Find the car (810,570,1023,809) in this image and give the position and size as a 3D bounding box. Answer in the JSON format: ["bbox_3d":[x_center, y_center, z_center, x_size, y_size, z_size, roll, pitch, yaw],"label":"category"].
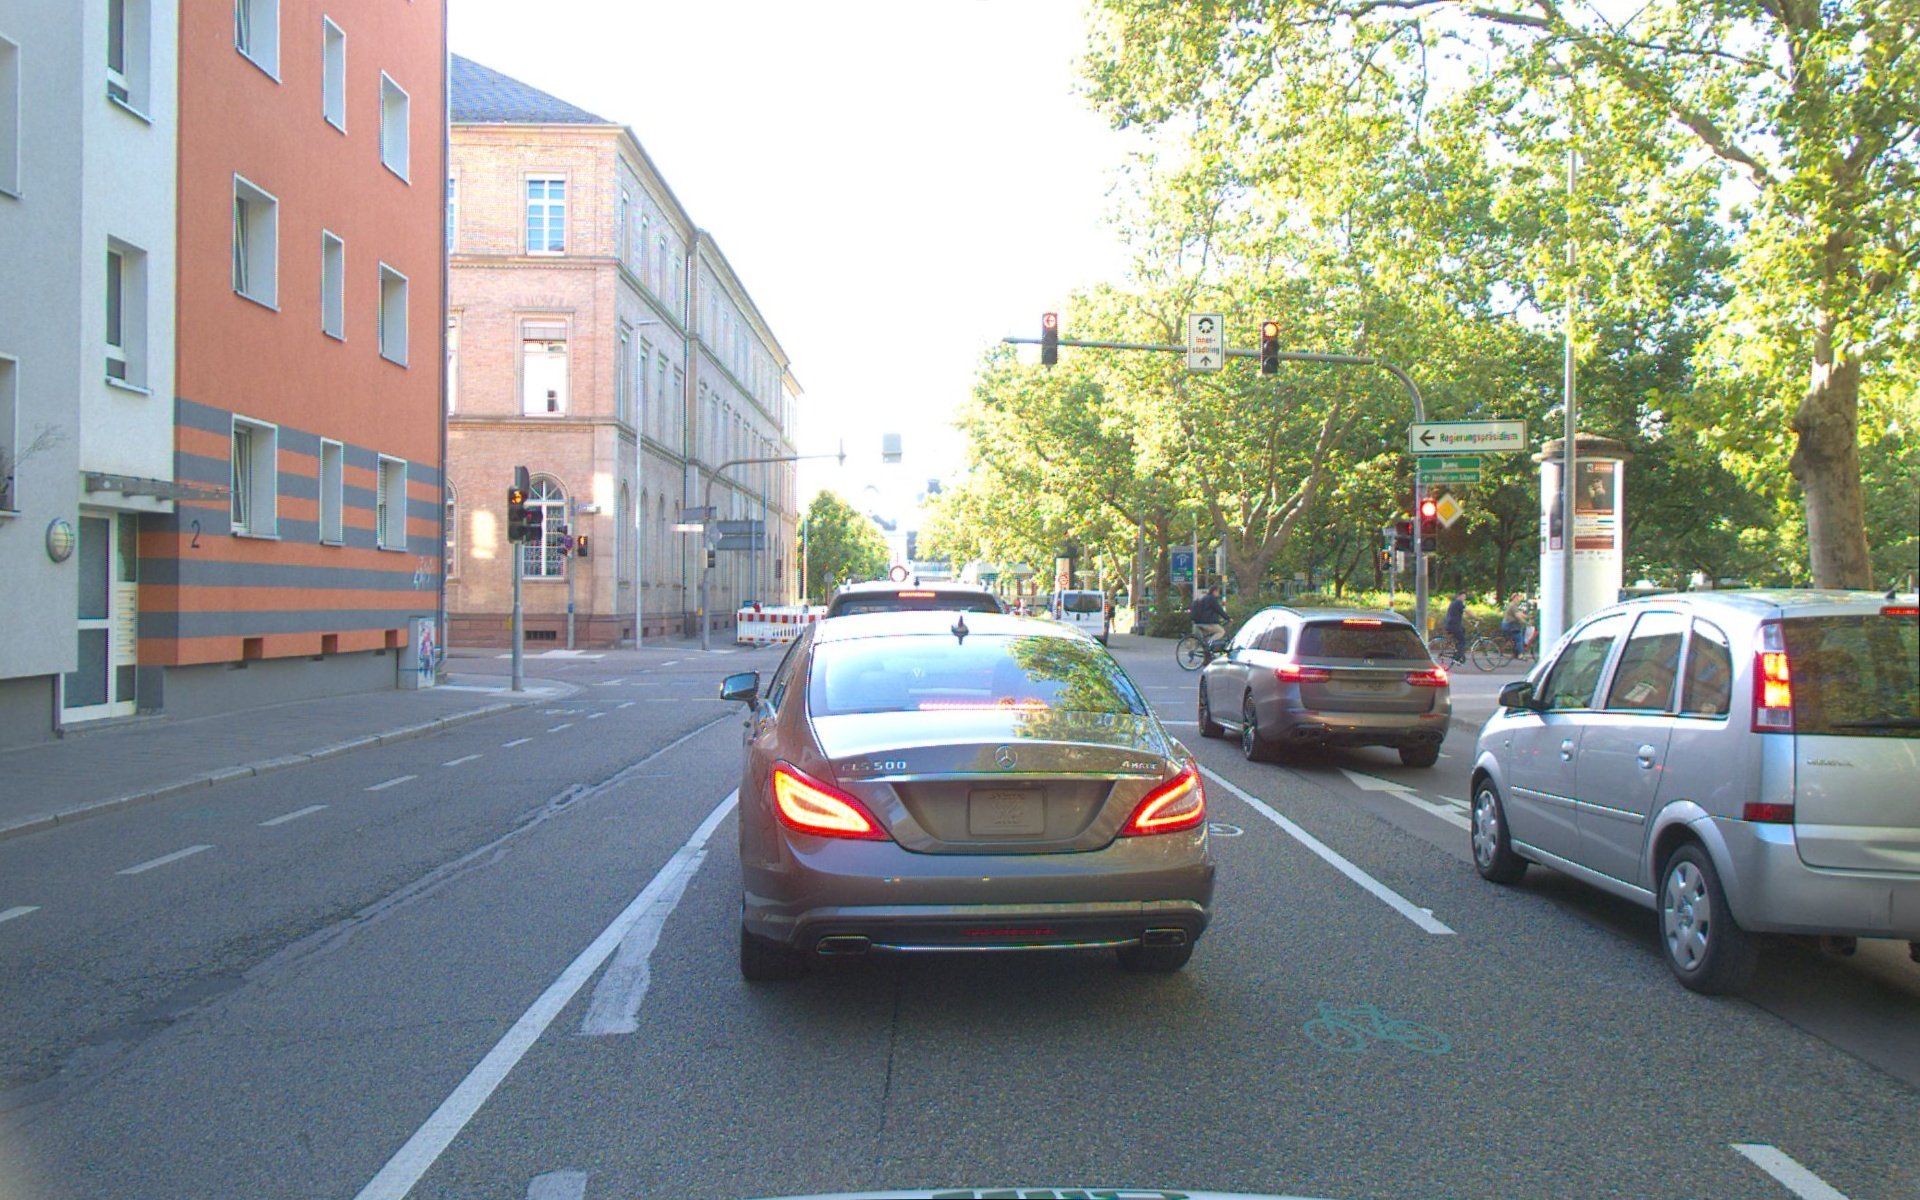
[{"bbox_3d":[-0.398,0.633,13.646,1.487,1.675,3.878,1,0,-3],"label":"car"}]

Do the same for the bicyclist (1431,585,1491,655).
[{"bbox_3d":[11.014,0.443,36.402,1.094,1.516,0.711,0,0,-1],"label":"bicyclist"}]

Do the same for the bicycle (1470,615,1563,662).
[{"bbox_3d":[12.852,0.885,38.232,1.939,1.045,0.652,0,0,0],"label":"bicycle"}]

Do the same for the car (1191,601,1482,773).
[{"bbox_3d":[3.712,0.783,17.195,1.874,1.490,4.668,2,0,-1],"label":"car"}]

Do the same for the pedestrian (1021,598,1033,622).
[{"bbox_3d":[4.014,0.587,99.138,0.635,1.458,0.659,0,0,-1],"label":"pedestrian"}]

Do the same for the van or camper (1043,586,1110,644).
[{"bbox_3d":[4.082,0.504,58.434,1.953,1.975,4.593,1,0,-1],"label":"van or camper"}]

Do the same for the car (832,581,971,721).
[{"bbox_3d":[-0.779,0.647,23.230,1.783,1.793,3.999,0,0,-1],"label":"car"}]

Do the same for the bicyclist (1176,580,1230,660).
[{"bbox_3d":[5.146,0.421,35.021,0.995,1.671,0.607,1,0,-7],"label":"bicyclist"}]

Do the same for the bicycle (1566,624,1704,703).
[{"bbox_3d":[9.713,0.908,23.827,1.766,1.116,0.510,0,0,2],"label":"bicycle"}]

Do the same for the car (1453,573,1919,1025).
[{"bbox_3d":[3.744,0.722,7.930,1.666,1.631,3.860,1,0,1],"label":"car"}]

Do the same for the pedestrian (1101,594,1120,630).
[{"bbox_3d":[6.919,0.539,75.996,0.813,1.634,0.651,1,0,-1],"label":"pedestrian"}]

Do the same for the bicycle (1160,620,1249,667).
[{"bbox_3d":[5.171,0.925,35.024,1.760,0.963,0.613,1,0,-7],"label":"bicycle"}]

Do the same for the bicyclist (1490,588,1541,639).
[{"bbox_3d":[12.841,0.306,38.236,0.971,1.174,0.620,0,0,1],"label":"bicyclist"}]

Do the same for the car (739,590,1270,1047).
[{"bbox_3d":[-0.117,0.706,7.640,1.769,1.482,4.343,1,0,-8],"label":"car"}]

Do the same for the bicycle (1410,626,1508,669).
[{"bbox_3d":[10.977,1.047,36.409,1.946,0.919,0.733,0,0,-2],"label":"bicycle"}]
